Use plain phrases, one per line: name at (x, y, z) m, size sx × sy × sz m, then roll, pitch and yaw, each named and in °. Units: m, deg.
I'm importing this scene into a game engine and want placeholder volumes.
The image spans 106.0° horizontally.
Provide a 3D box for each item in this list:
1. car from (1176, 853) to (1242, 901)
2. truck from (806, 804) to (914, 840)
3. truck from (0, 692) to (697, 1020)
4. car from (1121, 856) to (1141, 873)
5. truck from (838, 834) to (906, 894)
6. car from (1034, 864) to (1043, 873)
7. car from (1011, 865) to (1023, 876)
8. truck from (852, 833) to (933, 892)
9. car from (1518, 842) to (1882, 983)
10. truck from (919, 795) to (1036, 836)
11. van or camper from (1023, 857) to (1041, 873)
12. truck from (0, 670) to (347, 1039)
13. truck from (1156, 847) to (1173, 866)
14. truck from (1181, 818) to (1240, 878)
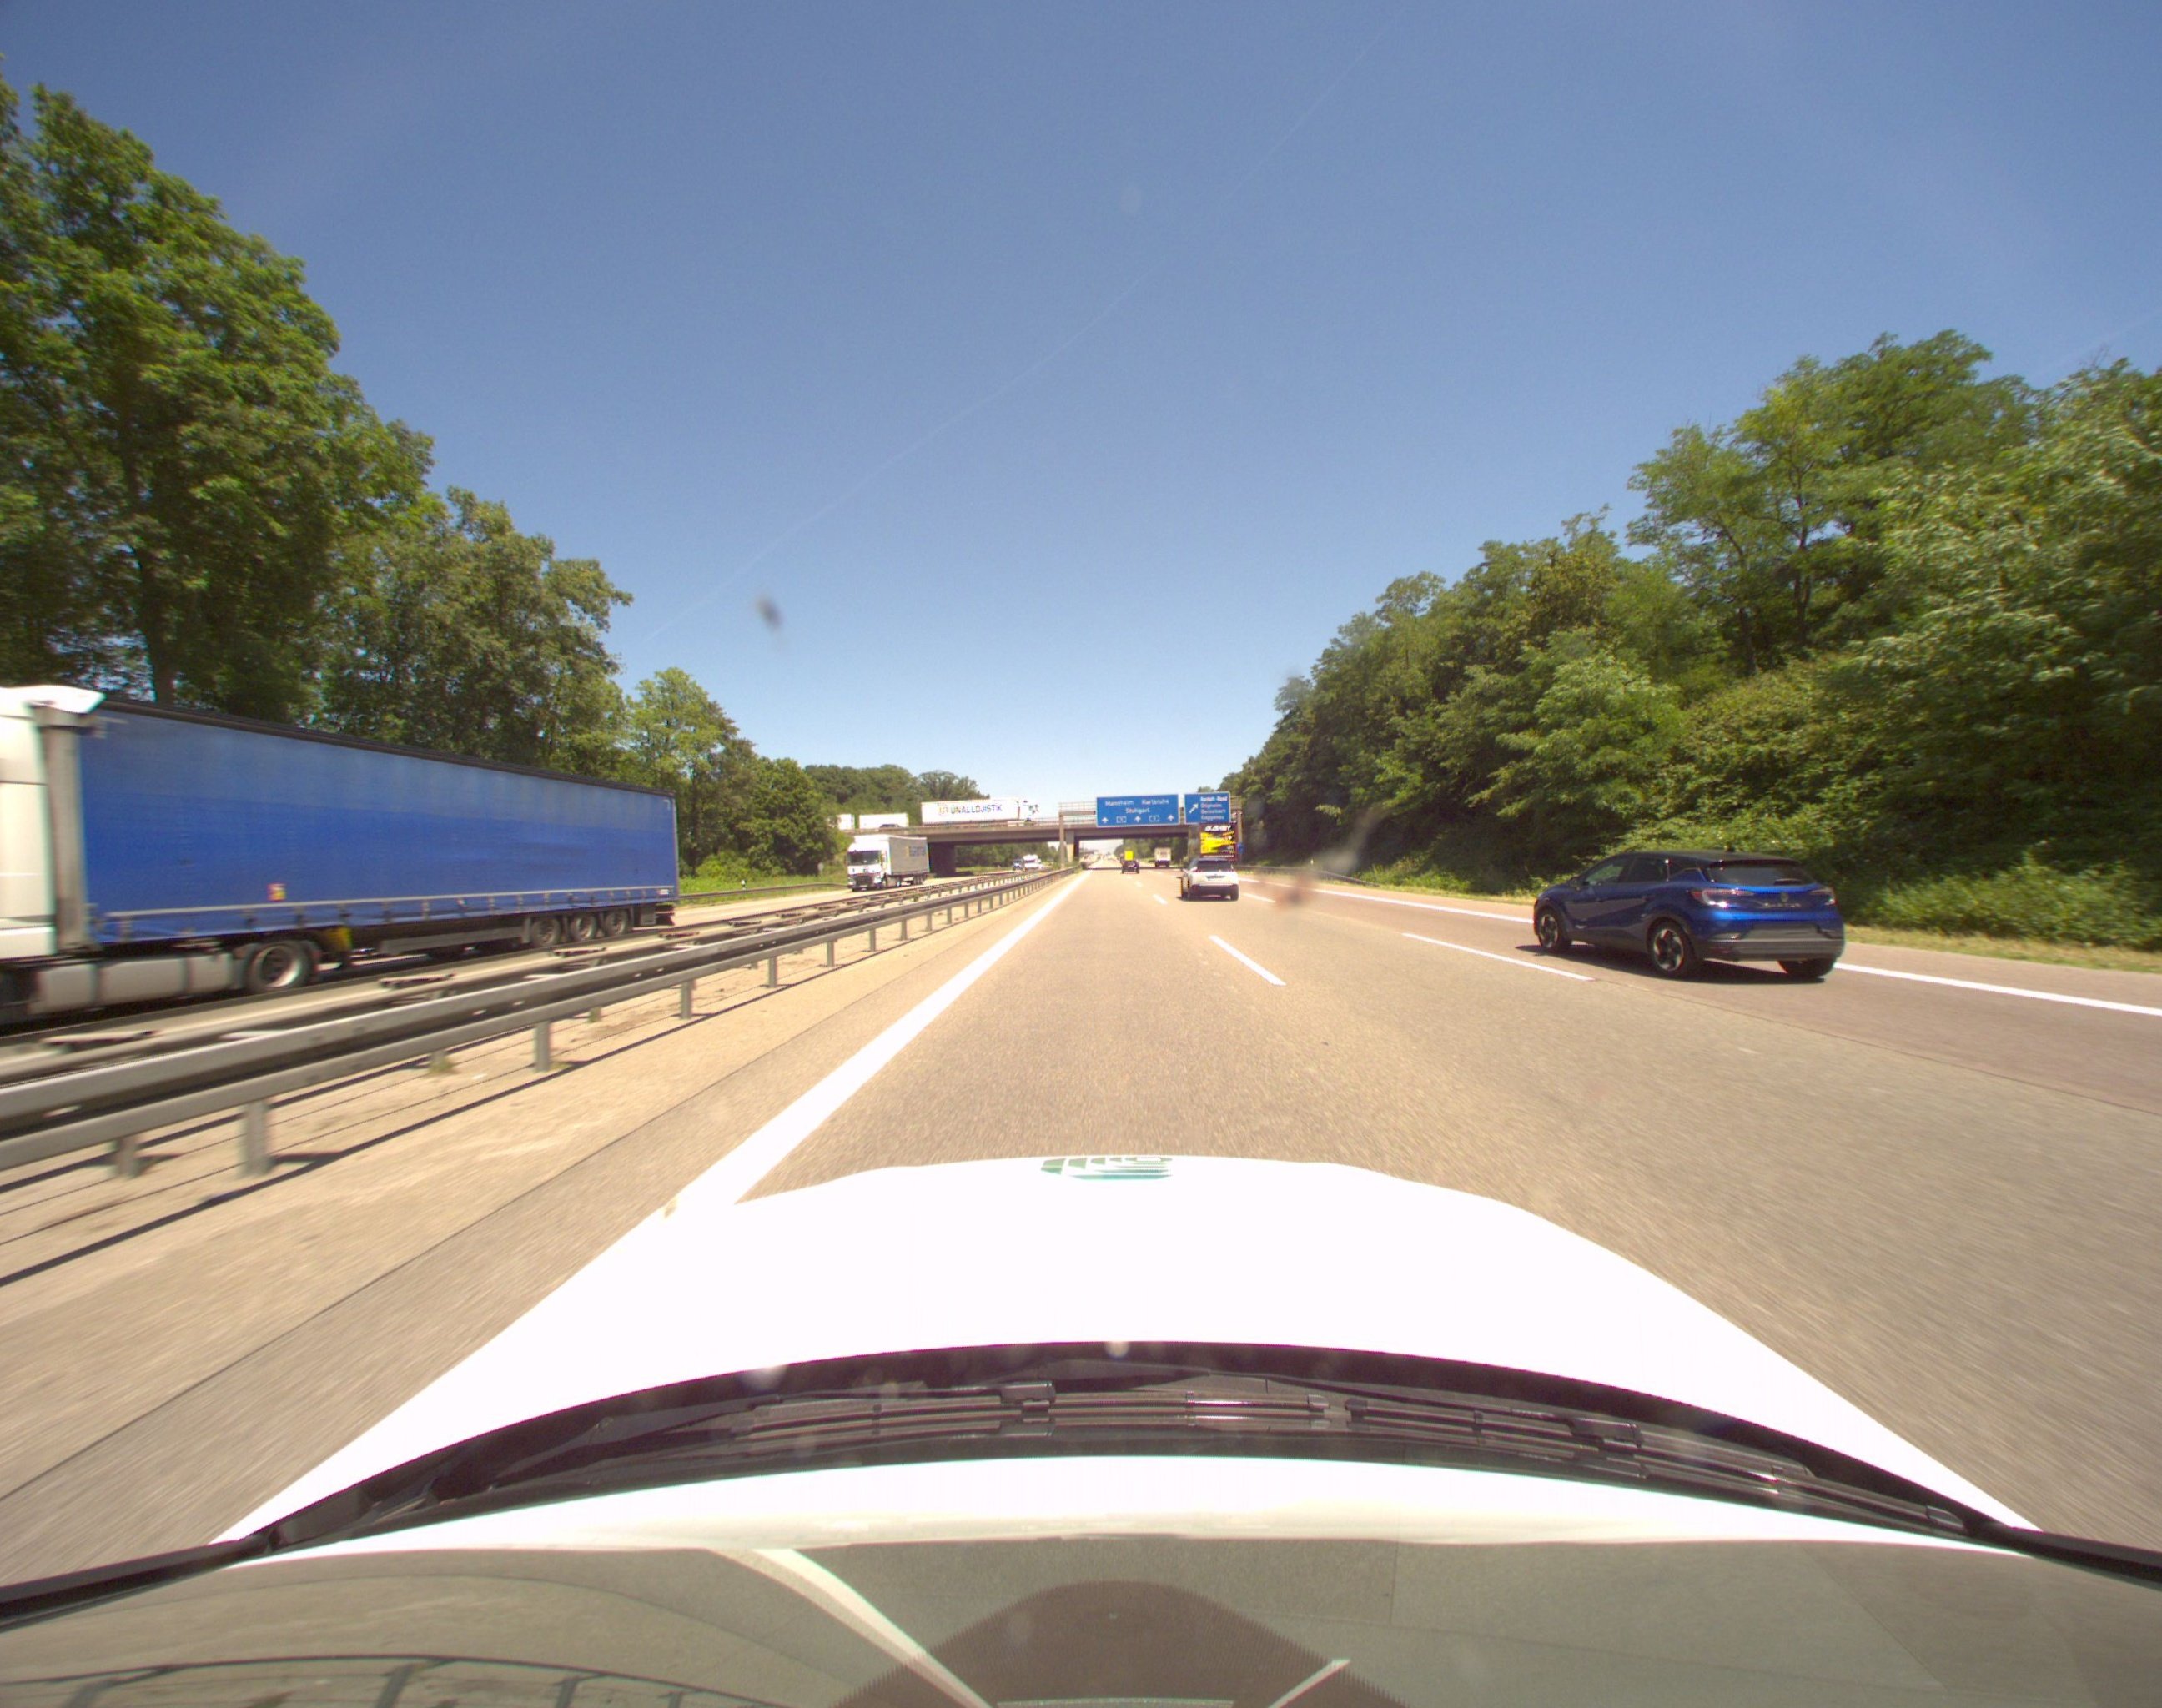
car at (4.714, 0.830, 30.608) m, size 1.820 × 1.608 × 4.810 m, roll -1°, pitch -1°, yaw 1°
truck at (-35.726, -5.135, 132.256) m, size 16.439 × 5.566 × 3.168 m, roll 0°, pitch -1°, yaw -6°
truck at (-12.990, 0.101, 17.004) m, size 2.975 × 4.019 × 13.941 m, roll -1°, pitch -1°, yaw 2°
car at (5.128, 1.116, 84.030) m, size 1.820 × 1.706 × 4.001 m, roll -1°, pitch -1°, yaw 1°
truck at (-15.502, 0.765, 60.918) m, size 2.958 × 4.062 × 6.461 m, roll -4°, pitch -1°, yaw 2°
car at (-8.996, 3.121, 172.871) m, size 1.685 × 1.816 × 4.713 m, roll -1°, pitch -1°, yaw 0°
car at (-13.531, 3.448, 172.088) m, size 2.082 × 2.399 × 5.733 m, roll -1°, pitch -1°, yaw 0°
truck at (-15.433, 0.728, 68.114) m, size 3.055 × 4.251 × 13.962 m, roll -4°, pitch -1°, yaw 1°
car at (8.002, 0.671, 11.152) m, size 1.863 × 1.556 × 4.203 m, roll -1°, pitch -1°, yaw 2°
truck at (-14.701, -5.498, 116.926) m, size 16.426 × 5.566 × 3.170 m, roll 0°, pitch -1°, yaw -4°
van or camper at (-9.023, 2.077, 150.085) m, size 2.583 × 2.907 × 7.236 m, roll -1°, pitch -1°, yaw 2°
truck at (-13.209, 0.025, 9.882) m, size 2.975 × 4.019 × 6.043 m, roll -1°, pitch -1°, yaw 2°
truck at (15.454, 0.514, 150.393) m, size 3.013 × 3.319 × 10.788 m, roll -1°, pitch -1°, yaw 6°
truck at (9.522, -0.368, 60.943) m, size 2.964 × 4.037 × 10.985 m, roll 0°, pitch -1°, yaw 2°
